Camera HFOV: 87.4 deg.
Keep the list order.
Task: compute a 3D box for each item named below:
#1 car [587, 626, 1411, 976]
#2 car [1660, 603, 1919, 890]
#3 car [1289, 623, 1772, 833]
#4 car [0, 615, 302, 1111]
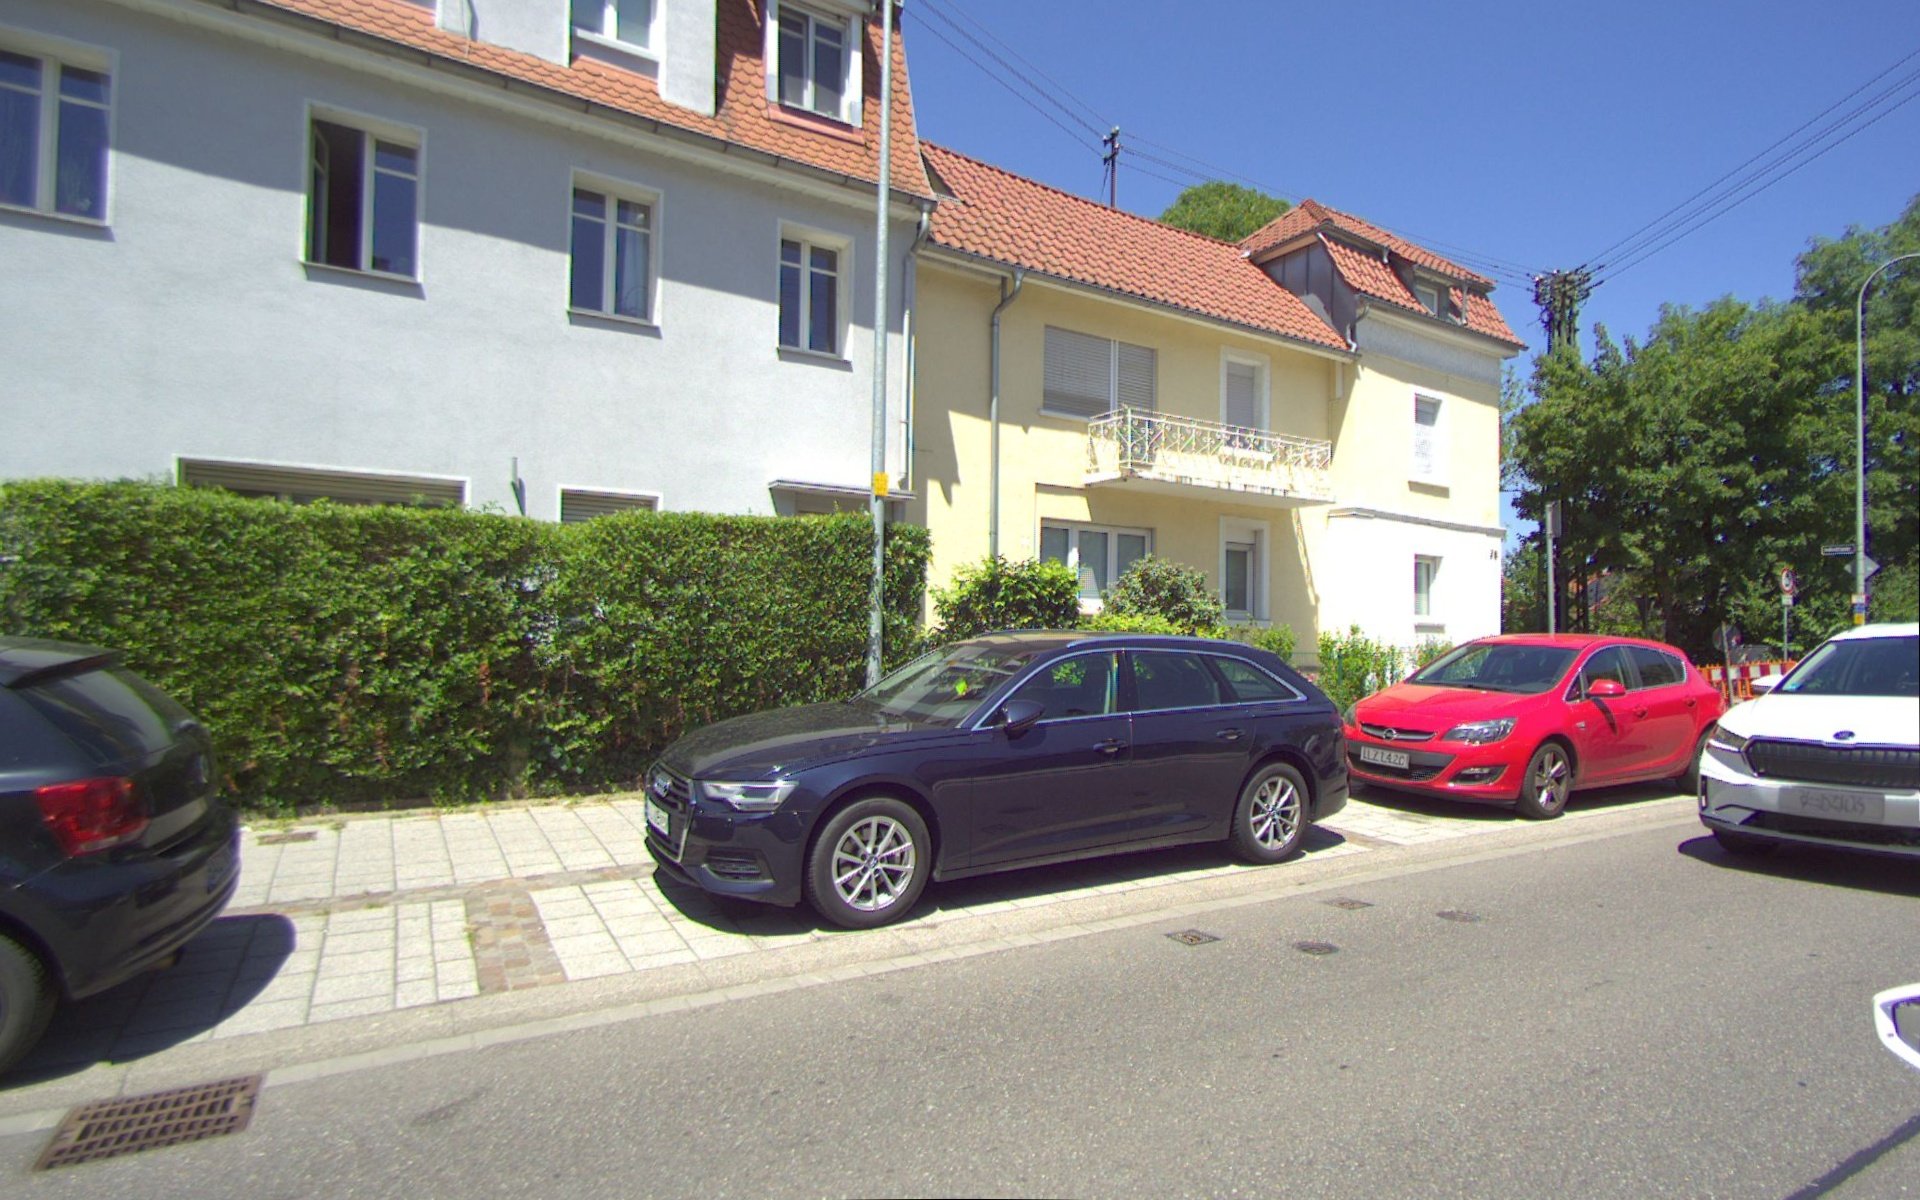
[{"bbox_3d":[0.476,0.940,6.572,5.245,1.481,1.854,1,0,-31],"label":"car"},{"bbox_3d":[7.058,0.890,7.105,4.310,1.617,1.868,1,-3,-32],"label":"car"},{"bbox_3d":[5.511,1.032,9.552,4.682,1.499,1.868,1,1,-30],"label":"car"},{"bbox_3d":[-4.729,0.813,3.235,4.142,1.479,1.781,1,1,-26],"label":"car"}]
